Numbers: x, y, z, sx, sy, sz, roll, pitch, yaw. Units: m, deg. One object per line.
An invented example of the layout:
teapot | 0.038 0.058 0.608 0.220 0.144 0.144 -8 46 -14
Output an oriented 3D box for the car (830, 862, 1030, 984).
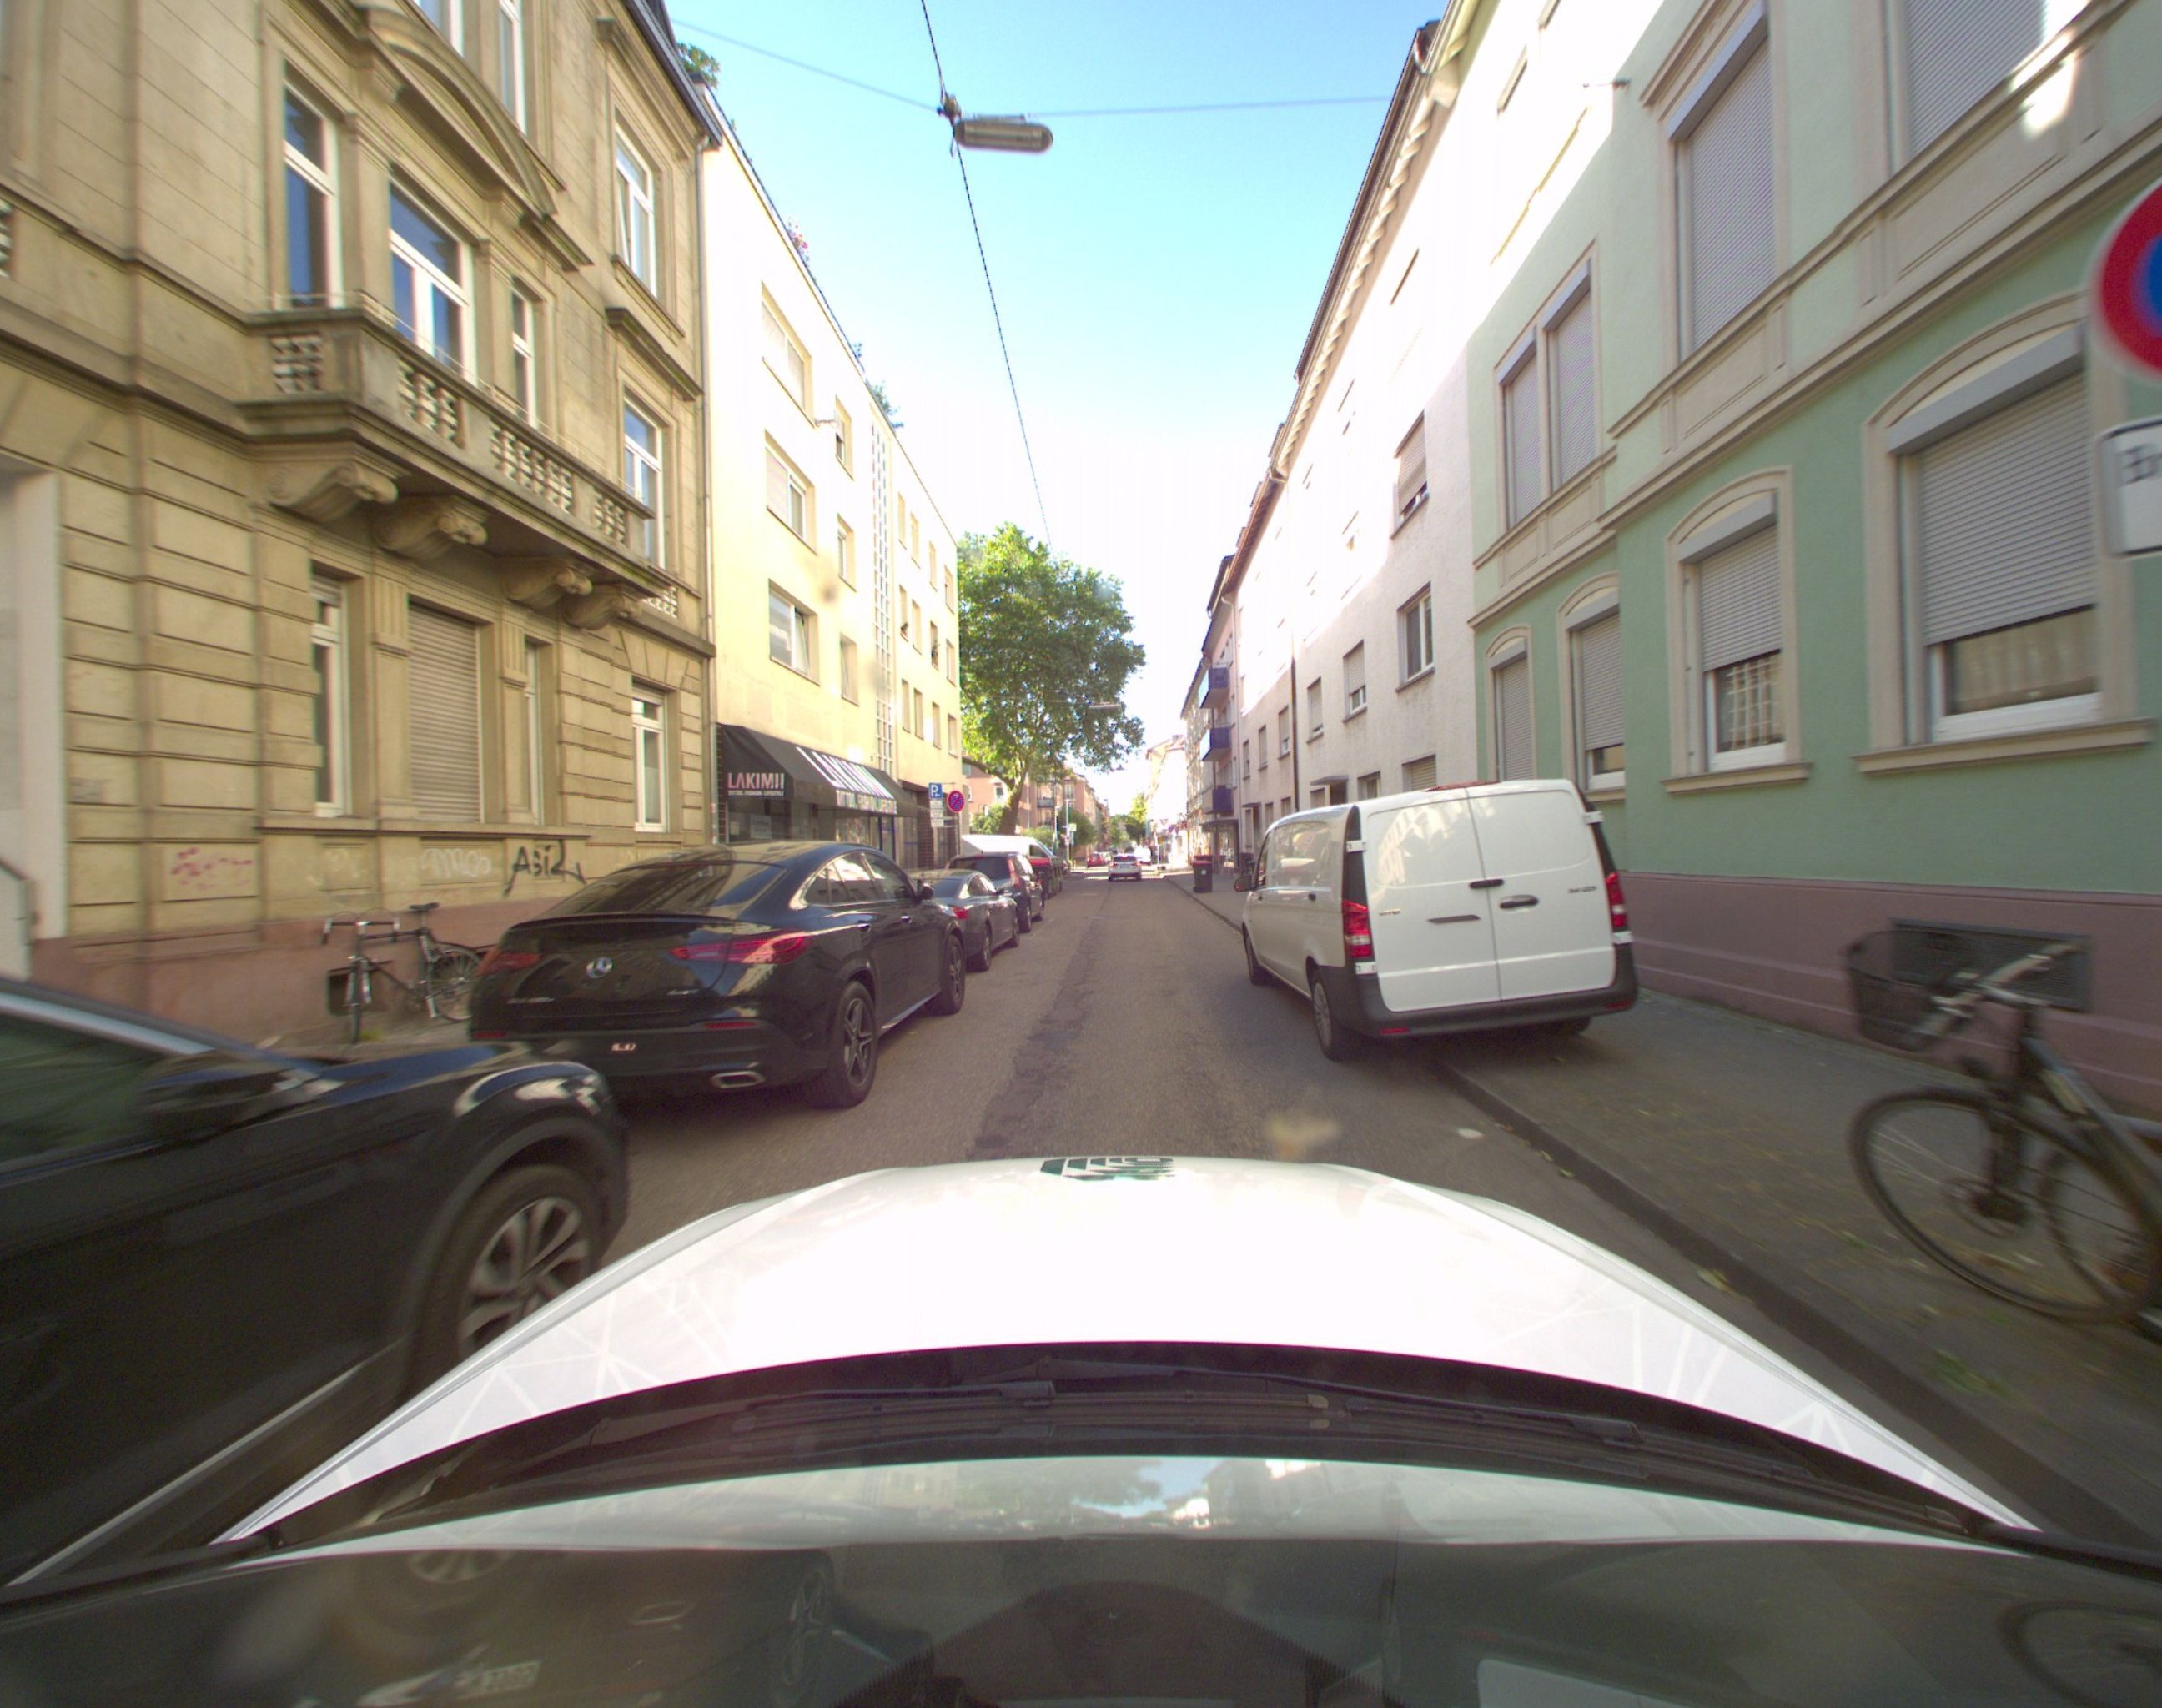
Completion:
car | -2.043 0.891 12.563 1.837 1.417 4.822 -3 -1 3

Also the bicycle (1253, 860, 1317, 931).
bicycle | 3.761 0.731 15.157 0.661 1.136 1.989 -4 1 1

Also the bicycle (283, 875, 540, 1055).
bicycle | -5.566 0.843 6.941 0.508 1.277 1.869 -2 -1 5

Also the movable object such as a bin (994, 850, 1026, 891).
movable object such as a bin | -2.935 0.684 33.845 1.224 1.653 1.172 -1 -1 -3

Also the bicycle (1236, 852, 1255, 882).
bicycle | 6.484 0.508 32.093 0.451 1.134 1.922 -4 -1 5

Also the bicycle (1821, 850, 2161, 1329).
bicycle | 3.187 0.641 2.179 0.572 1.271 2.204 -4 0 7

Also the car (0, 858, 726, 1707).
car | -2.538 0.826 1.247 1.705 1.531 4.373 -3 0 5

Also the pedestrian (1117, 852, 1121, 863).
pedestrian | 6.197 0.504 132.855 0.644 1.797 0.640 -2 -1 4

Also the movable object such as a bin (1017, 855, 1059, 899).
movable object such as a bin | -1.537 0.827 29.366 1.328 1.484 1.094 -3 -1 3

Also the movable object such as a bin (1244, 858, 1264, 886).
movable object such as a bin | 6.238 0.646 29.359 0.595 0.951 0.683 -2 -1 4

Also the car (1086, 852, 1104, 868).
car | 1.527 0.585 87.578 1.762 1.589 3.729 -2 1 3

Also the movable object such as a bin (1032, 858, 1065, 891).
movable object such as a bin | -1.340 0.848 33.605 1.236 1.322 1.046 -1 -1 3

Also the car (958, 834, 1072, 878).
car | -4.075 0.115 51.018 6.707 2.555 2.148 1 -1 4

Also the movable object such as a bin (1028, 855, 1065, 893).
movable object such as a bin | -1.359 0.785 32.512 1.329 1.491 1.083 -1 -1 3

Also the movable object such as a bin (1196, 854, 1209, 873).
movable object such as a bin | 7.123 0.578 47.850 0.698 1.073 0.597 -2 -1 5

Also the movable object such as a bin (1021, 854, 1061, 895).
movable object such as a bin | -1.485 0.759 30.410 1.343 1.487 1.004 -1 -1 3

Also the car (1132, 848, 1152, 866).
car | 6.758 0.281 90.547 1.936 1.948 4.079 -1 0 1

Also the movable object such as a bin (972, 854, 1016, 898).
movable object such as a bin | -3.008 0.752 28.266 1.291 1.498 1.179 -1 -1 3

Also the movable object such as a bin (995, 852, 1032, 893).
movable object such as a bin | -2.685 0.741 32.561 1.283 1.604 1.083 -1 -1 3

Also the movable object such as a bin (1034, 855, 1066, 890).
movable object such as a bin | -1.306 0.766 34.705 1.296 1.451 1.117 -1 -1 -1

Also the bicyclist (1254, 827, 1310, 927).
bicyclist | 3.726 0.406 15.153 0.757 1.770 0.823 -4 1 1

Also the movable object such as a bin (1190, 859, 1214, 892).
movable object such as a bin | 4.134 0.718 27.773 0.729 1.081 0.704 -2 -1 4

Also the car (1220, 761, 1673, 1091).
car | 2.736 0.438 7.853 1.975 1.883 5.604 -5 0 3

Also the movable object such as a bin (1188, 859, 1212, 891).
movable object such as a bin | 4.169 0.731 28.486 0.764 1.086 0.694 -2 -1 4

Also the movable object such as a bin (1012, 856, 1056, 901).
movable object such as a bin | -1.610 0.842 28.193 1.314 1.450 1.188 -3 -1 3

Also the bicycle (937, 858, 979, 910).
bicycle | -3.295 0.806 21.951 0.462 1.331 1.860 2 -1 12

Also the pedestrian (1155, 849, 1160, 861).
pedestrian | 10.874 0.177 116.183 0.615 1.733 0.560 -2 -1 2

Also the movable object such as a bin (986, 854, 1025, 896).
movable object such as a bin | -2.817 0.768 30.496 1.296 1.522 1.019 -1 -1 3

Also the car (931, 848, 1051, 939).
car | -1.809 0.751 17.944 1.775 1.666 4.675 -3 0 3

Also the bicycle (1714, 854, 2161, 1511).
bicycle | 2.519 0.684 1.888 0.572 1.320 2.204 -3 0 7

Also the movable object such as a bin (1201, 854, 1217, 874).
movable object such as a bin | 7.213 0.568 45.896 0.727 1.104 0.693 -2 -1 1

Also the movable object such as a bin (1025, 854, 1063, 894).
movable object such as a bin | -1.404 0.769 31.444 1.337 1.499 1.019 -1 -1 3

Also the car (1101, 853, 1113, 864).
car | 3.847 0.649 119.750 1.565 1.585 3.615 -2 -1 4

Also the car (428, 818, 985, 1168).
car | -2.249 0.718 6.763 1.928 1.736 5.147 -2 0 3

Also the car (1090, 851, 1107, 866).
car | 2.048 0.533 93.163 1.713 1.682 3.730 -2 0 4

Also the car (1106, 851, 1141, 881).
car | 2.318 0.645 44.763 1.816 1.514 3.826 -2 0 3
